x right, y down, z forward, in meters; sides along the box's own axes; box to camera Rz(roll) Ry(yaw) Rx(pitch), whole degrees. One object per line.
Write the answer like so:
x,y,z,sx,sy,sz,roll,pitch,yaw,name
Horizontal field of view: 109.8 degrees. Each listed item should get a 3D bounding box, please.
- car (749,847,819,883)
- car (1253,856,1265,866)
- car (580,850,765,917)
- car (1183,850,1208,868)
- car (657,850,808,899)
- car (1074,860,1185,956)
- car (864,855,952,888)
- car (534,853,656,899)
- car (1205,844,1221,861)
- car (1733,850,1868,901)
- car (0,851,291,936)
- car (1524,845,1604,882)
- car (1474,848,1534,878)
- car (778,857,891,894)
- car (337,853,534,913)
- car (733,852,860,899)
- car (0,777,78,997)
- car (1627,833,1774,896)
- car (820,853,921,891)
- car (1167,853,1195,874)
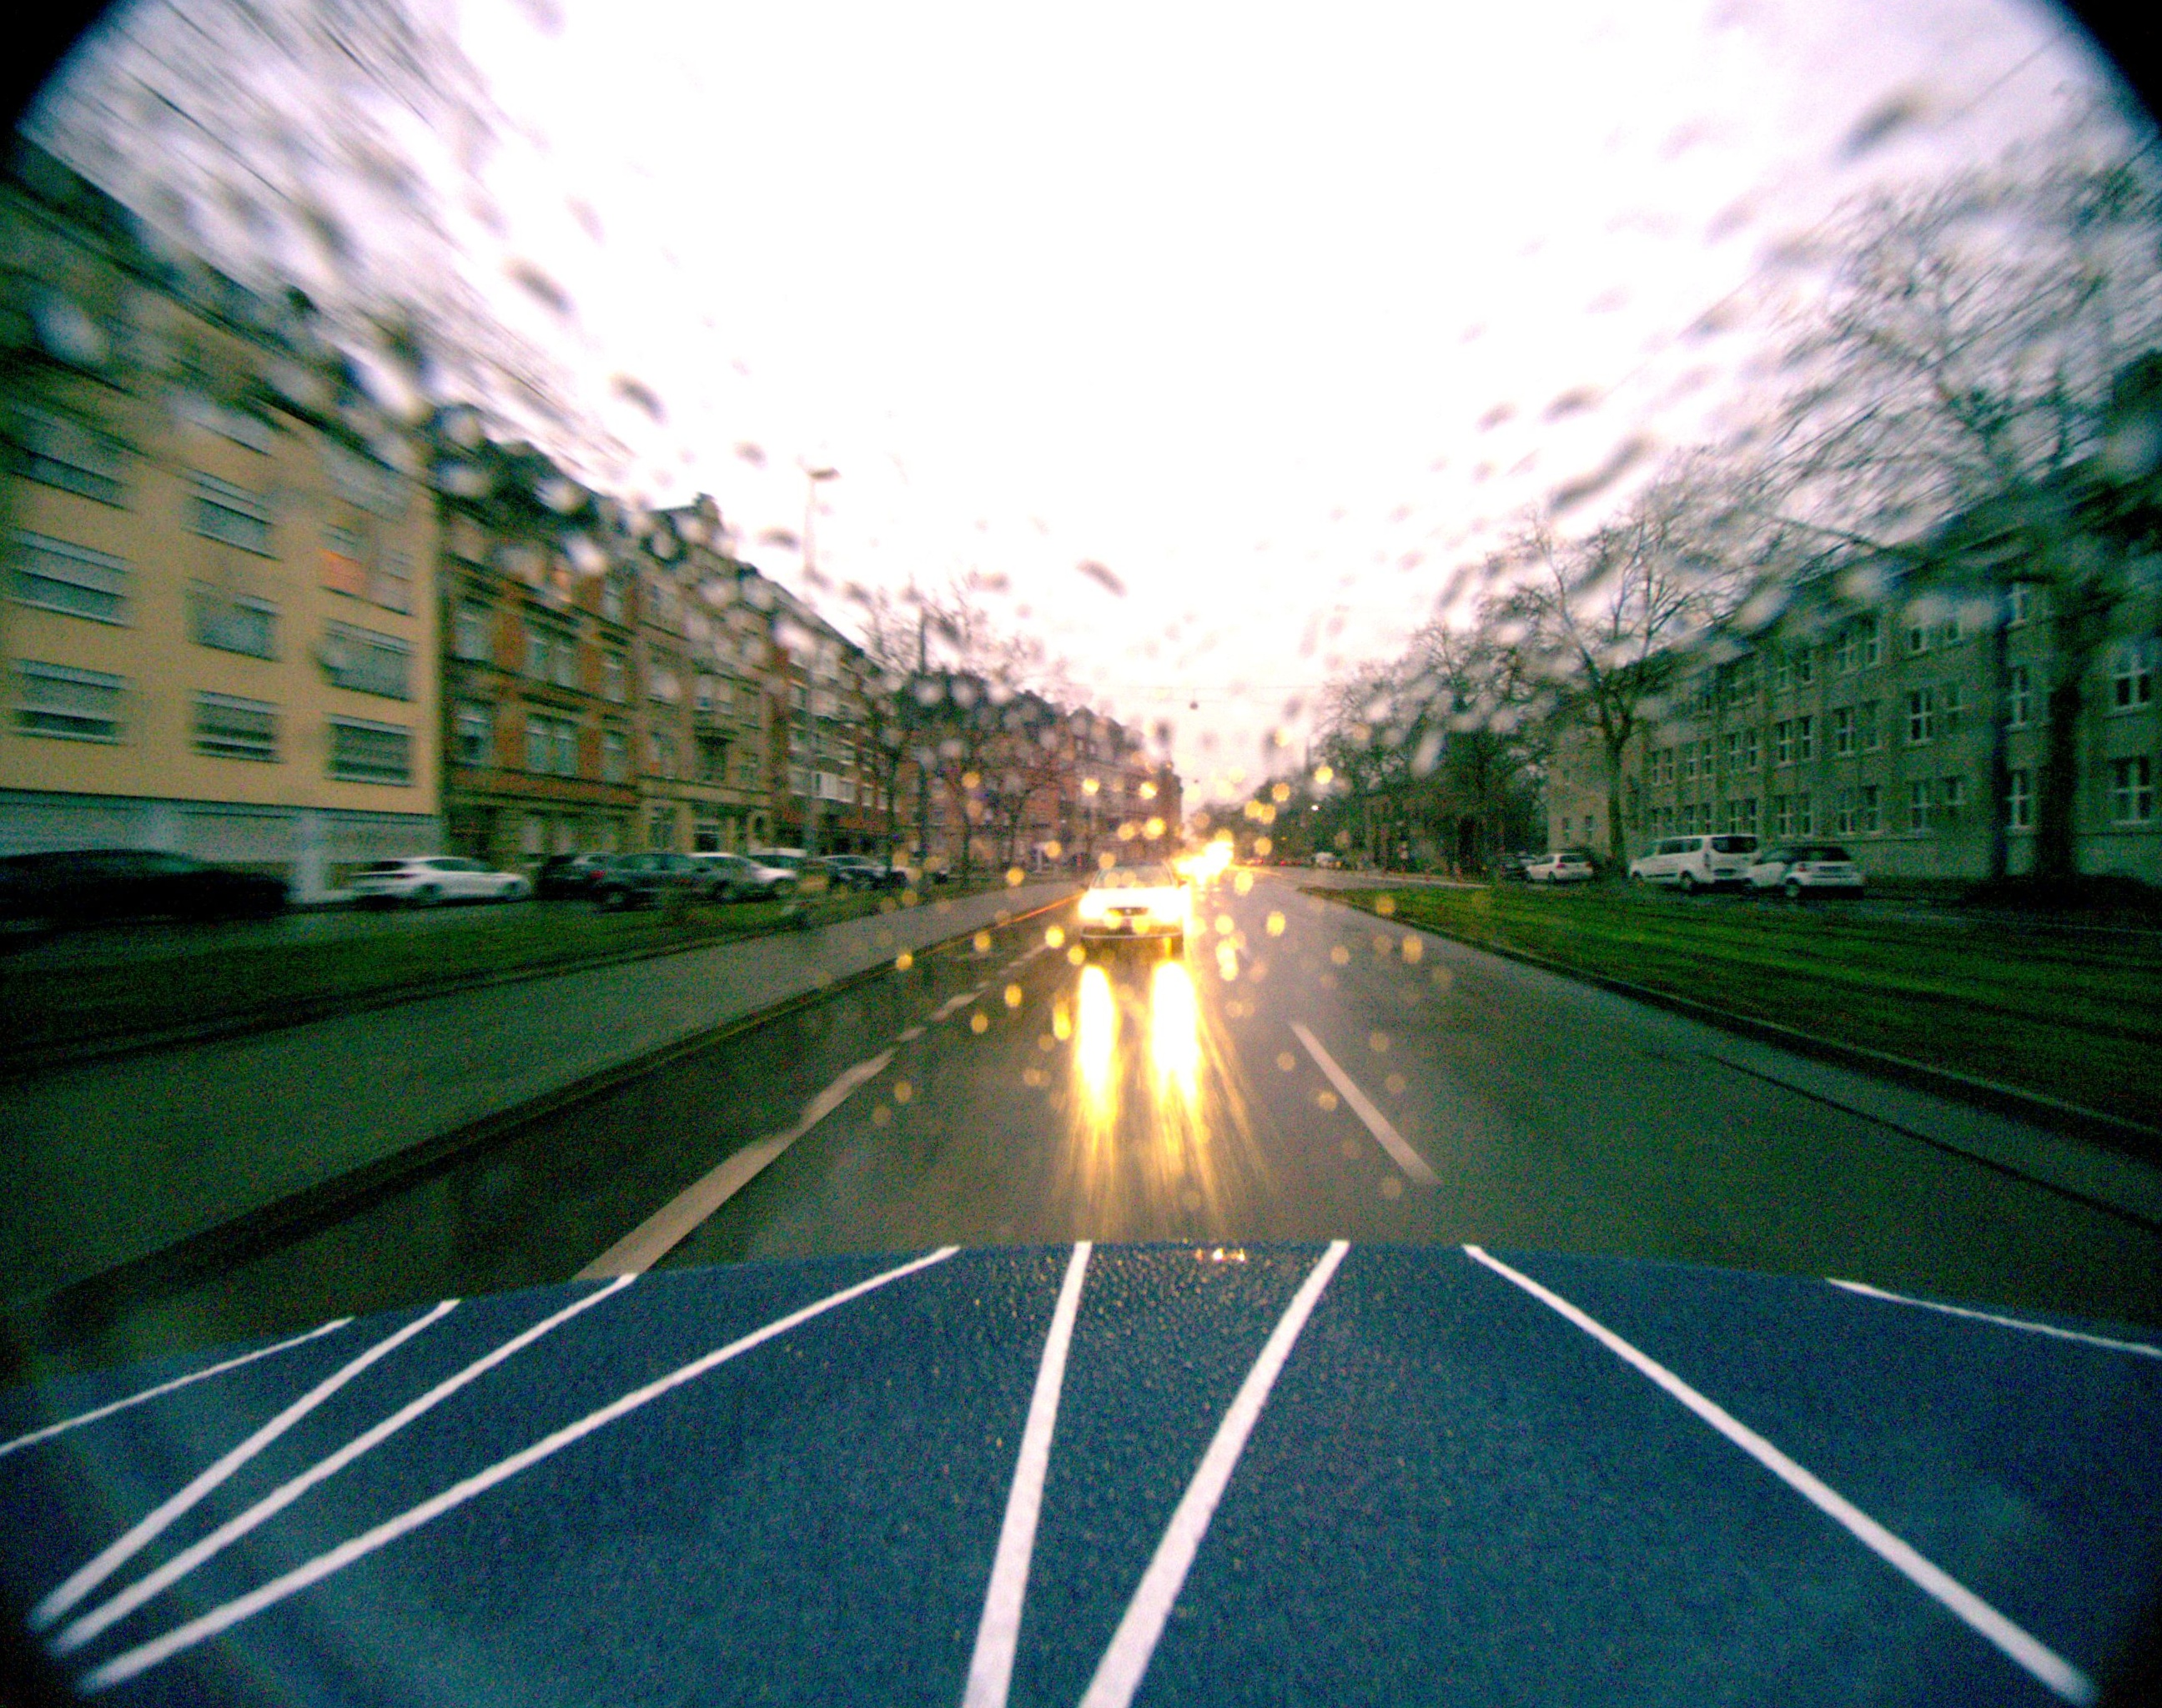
-15.384,0.524,39.489,1.672,1.694,3.468,-2,1,12,car
32.323,1.294,138.033,1.950,1.804,4.005,0,0,15,car
-10.148,0.695,19.235,3.878,1.398,1.692,-3,1,-21,car
11.548,0.485,76.890,1.674,1.650,4.147,-2,1,-1,car
-9.999,0.572,22.081,3.769,1.325,1.599,0,1,-16,car
0.993,0.882,13.896,1.714,1.405,3.681,-2,1,7,car
-7.875,0.771,34.457,3.769,1.346,1.599,-2,1,-16,car
-17.451,0.749,27.498,1.471,1.534,3.875,0,0,10,car
19.679,-0.241,113.137,2.127,2.366,5.643,-2,1,12,car
21.623,0.603,22.984,1.559,1.420,2.956,0,1,8,car
-19.021,0.681,15.165,1.740,1.437,4.218,1,0,12,car
23.701,0.443,37.471,1.825,1.645,3.861,-2,1,7,car
24.393,0.482,43.927,1.615,1.650,3.612,0,0,3,car
-8.908,0.732,27.452,3.771,1.271,1.598,0,0,-22,car
-18.528,0.772,22.104,1.750,1.469,4.179,-2,1,9,car
-9.257,0.674,25.025,3.769,1.324,1.599,-2,1,-16,car
-11.793,0.355,5.730,4.729,1.971,1.795,-2,0,-29,car
22.136,0.308,27.444,1.997,2.002,4.511,-2,1,7,car
-8.464,0.700,30.647,3.769,1.346,1.599,-2,1,-16,car
7.007,0.644,53.434,1.589,1.418,3.134,0,0,2,car
